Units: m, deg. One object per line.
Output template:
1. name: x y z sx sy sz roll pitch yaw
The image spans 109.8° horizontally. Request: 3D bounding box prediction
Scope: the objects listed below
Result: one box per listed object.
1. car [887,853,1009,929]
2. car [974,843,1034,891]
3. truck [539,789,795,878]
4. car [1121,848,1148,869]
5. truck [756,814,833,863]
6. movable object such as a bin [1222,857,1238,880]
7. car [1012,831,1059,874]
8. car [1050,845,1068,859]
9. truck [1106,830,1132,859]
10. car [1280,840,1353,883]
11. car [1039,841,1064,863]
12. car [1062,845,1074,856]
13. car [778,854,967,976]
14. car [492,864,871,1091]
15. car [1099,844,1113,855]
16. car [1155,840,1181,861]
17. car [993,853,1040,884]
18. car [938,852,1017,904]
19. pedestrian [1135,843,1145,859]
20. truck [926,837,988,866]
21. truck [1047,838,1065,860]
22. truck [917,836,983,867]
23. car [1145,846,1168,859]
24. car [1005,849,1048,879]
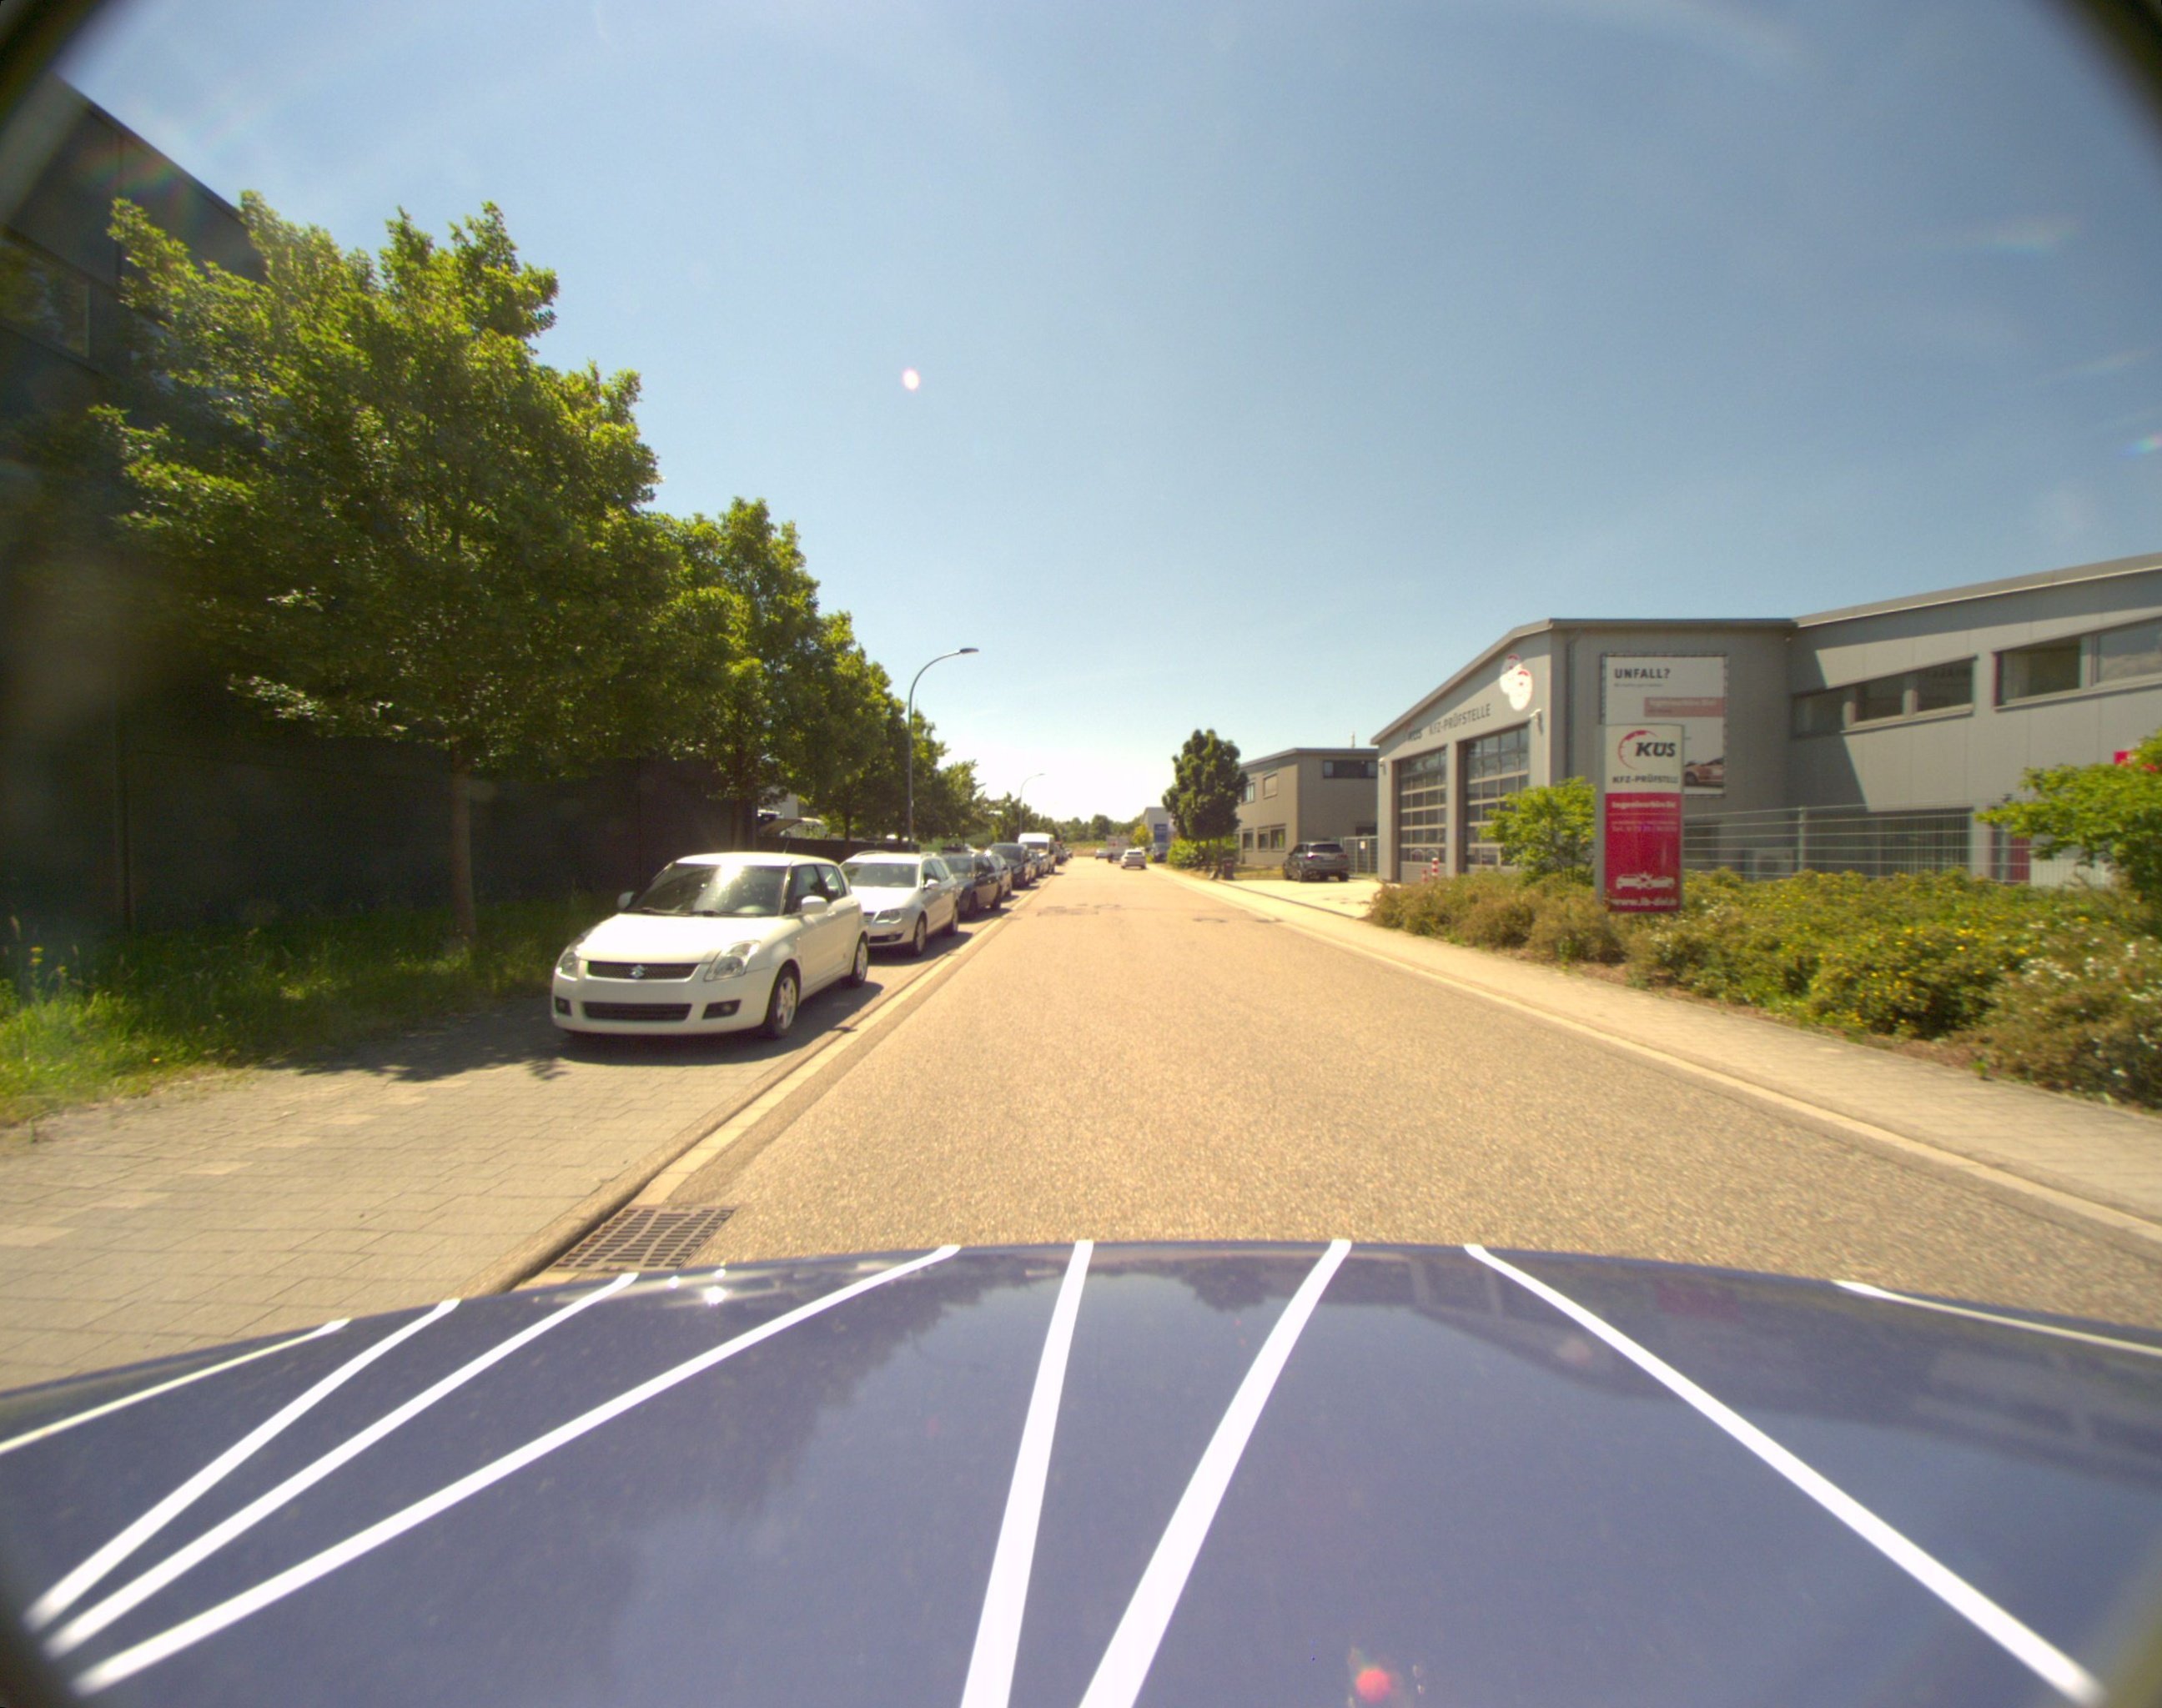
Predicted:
1. car: -3.012 0.774 18.283 1.712 1.496 4.707 1 1 5
2. car: -3.051 0.460 30.944 1.998 1.815 4.353 0 1 0
3. truck: -18.913 -0.891 35.447 10.012 3.800 3.034 1 1 -10
4. car: 4.033 0.296 57.917 1.734 1.450 4.490 0 1 0
5. truck: -23.070 -1.235 61.281 5.075 3.854 2.803 0 2 1
6. movable object such as a bin: 7.076 0.695 36.180 0.580 1.059 0.765 -2 1 0
7. car: -2.790 -0.133 48.099 2.273 2.483 6.152 1 1 2
8. car: -2.442 -0.250 85.395 1.702 1.375 4.836 2 1 1
9. truck: 3.922 -0.966 79.359 2.367 2.844 6.414 2 1 1
10. car: 10.320 0.318 33.710 1.998 1.725 4.914 -1 0 4
11. car: -2.608 -0.190 68.581 1.998 1.874 5.155 1 1 1
12. car: -2.073 -0.581 125.223 1.809 1.626 4.457 2 0 0
13. car: -3.112 0.814 12.361 1.752 1.553 4.505 1 1 1
14. car: -3.240 0.879 7.058 1.640 1.460 3.744 1 0 -2
15. car: 3.293 -0.616 99.890 1.787 1.414 4.413 -1 1 1
16. car: 8.351 -0.375 73.348 1.998 1.945 5.217 0 1 0
17. car: -3.006 0.637 35.997 1.715 1.280 4.114 0 2 2
18. car: -3.207 0.697 24.451 1.855 1.423 4.711 0 1 1
19. pedestrian: 5.960 -0.262 76.427 0.901 1.565 0.785 -2 1 1
20. truck: -12.538 -0.279 76.924 5.918 2.855 2.305 0 1 -2
21. truck: -2.559 -0.557 79.717 1.683 2.169 4.389 2 1 0
22. truck: -12.432 -0.265 72.551 5.836 2.896 2.414 0 1 0
23. car: 9.165 -0.159 92.384 2.748 1.509 1.535 0 1 -1
24. car: -2.941 0.507 41.610 1.833 1.485 4.478 1 0 2
